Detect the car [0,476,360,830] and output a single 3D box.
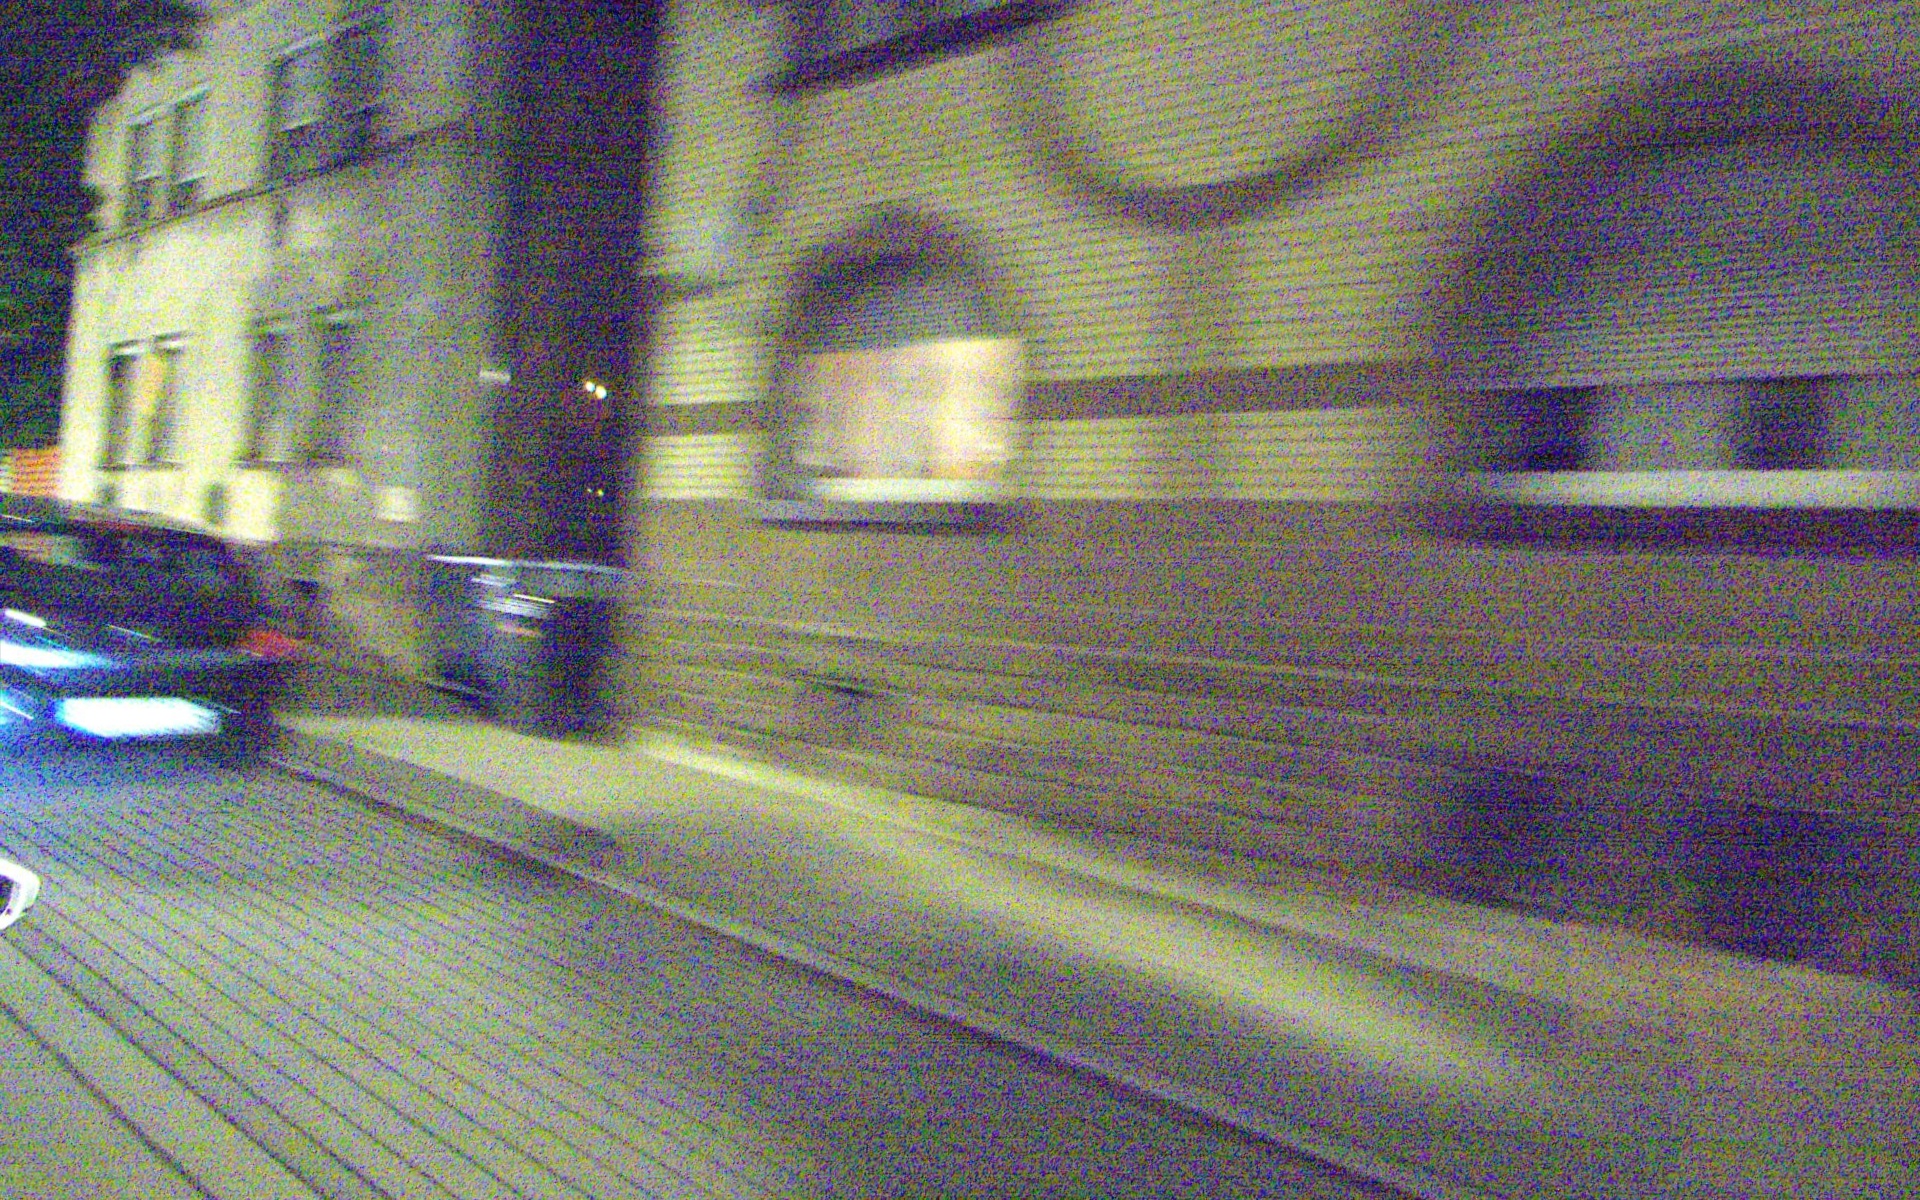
[{"bbox_3d":[-5.489,0.057,5.816,4.012,1.495,1.764,7,2,32],"label":"car"}]
